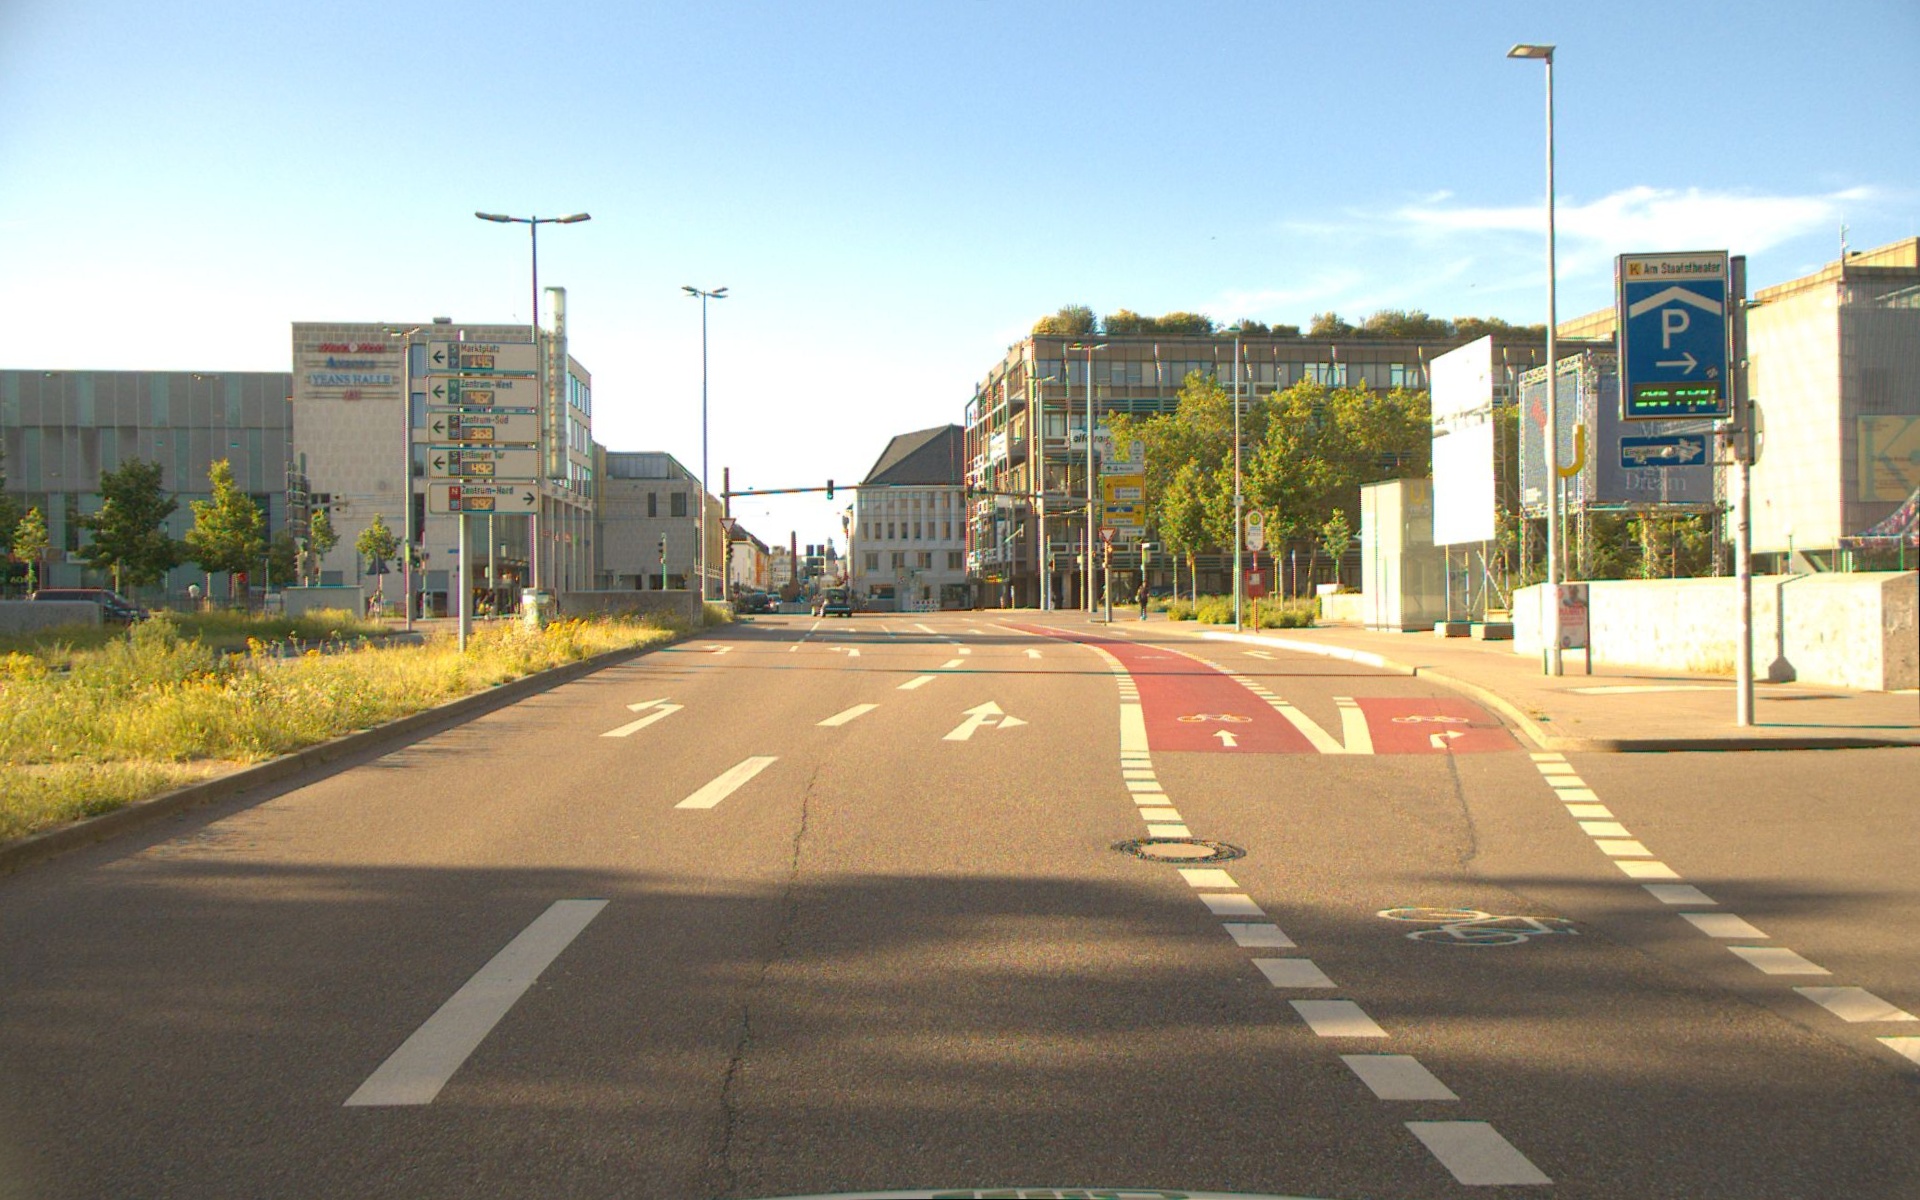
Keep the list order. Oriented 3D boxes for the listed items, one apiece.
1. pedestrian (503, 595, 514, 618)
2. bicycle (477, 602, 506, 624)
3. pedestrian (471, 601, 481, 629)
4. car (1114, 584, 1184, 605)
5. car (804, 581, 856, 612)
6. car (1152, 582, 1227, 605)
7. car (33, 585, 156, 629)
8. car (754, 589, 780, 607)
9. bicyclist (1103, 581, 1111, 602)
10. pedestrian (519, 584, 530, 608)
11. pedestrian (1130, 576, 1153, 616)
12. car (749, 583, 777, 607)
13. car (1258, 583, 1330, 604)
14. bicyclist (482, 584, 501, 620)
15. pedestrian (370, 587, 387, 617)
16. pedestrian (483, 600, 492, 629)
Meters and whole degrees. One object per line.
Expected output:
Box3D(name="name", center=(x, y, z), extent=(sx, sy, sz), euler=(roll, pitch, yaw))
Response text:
Box3D(name="pedestrian", center=(-32.272, 0.468, 118.335), extent=(0.610, 1.636, 0.653), euler=(-1, 0, -4))
Box3D(name="bicycle", center=(-19.748, 0.549, 69.692), extent=(0.599, 0.876, 1.951), euler=(-1, 1, 2))
Box3D(name="pedestrian", center=(-34.855, 1.080, 119.122), extent=(0.612, 2.049, 0.514), euler=(-1, 0, -12))
Box3D(name="car", center=(13.325, -0.394, 116.614), extent=(4.543, 1.380, 1.997), euler=(-1, 2, -7))
Box3D(name="car", center=(-6.868, -0.186, 86.877), extent=(1.750, 1.591, 3.766), euler=(-1, 1, -20))
Box3D(name="car", center=(15.104, -0.437, 109.080), extent=(4.543, 1.380, 1.997), euler=(-1, 2, -7))
Box3D(name="car", center=(-38.976, 0.320, 74.579), extent=(4.557, 1.842, 1.866), euler=(-1, -1, -12))
Box3D(name="car", center=(-16.524, -0.177, 141.909), extent=(1.954, 1.380, 4.643), euler=(-1, 2, -4))
Box3D(name="bicyclist", center=(9.741, -0.575, 109.701), extent=(0.498, 1.361, 0.452), euler=(-1, 0, -1))
Box3D(name="pedestrian", center=(-31.197, -0.289, 118.450), extent=(0.610, 1.636, 0.653), euler=(-1, 0, -4))
Box3D(name="pedestrian", center=(8.299, -0.195, 75.642), extent=(0.804, 1.779, 1.042), euler=(-2, 0, 18))
Box3D(name="car", center=(-15.805, -0.415, 132.801), extent=(1.954, 1.772, 4.643), euler=(-1, 2, -4))
Box3D(name="car", center=(23.207, -0.465, 114.941), extent=(4.543, 1.380, 1.997), euler=(-1, 2, -7))
Box3D(name="bicyclist", center=(-19.759, 0.074, 69.758), extent=(0.594, 1.515, 0.681), euler=(-1, 0, 2))
Box3D(name="pedestrian", center=(-29.893, 0.092, 84.961), extent=(0.709, 1.528, 0.800), euler=(-1, 0, -13))
Box3D(name="pedestrian", center=(-34.213, 1.063, 119.742), extent=(0.612, 2.049, 0.514), euler=(-1, 0, -12))
